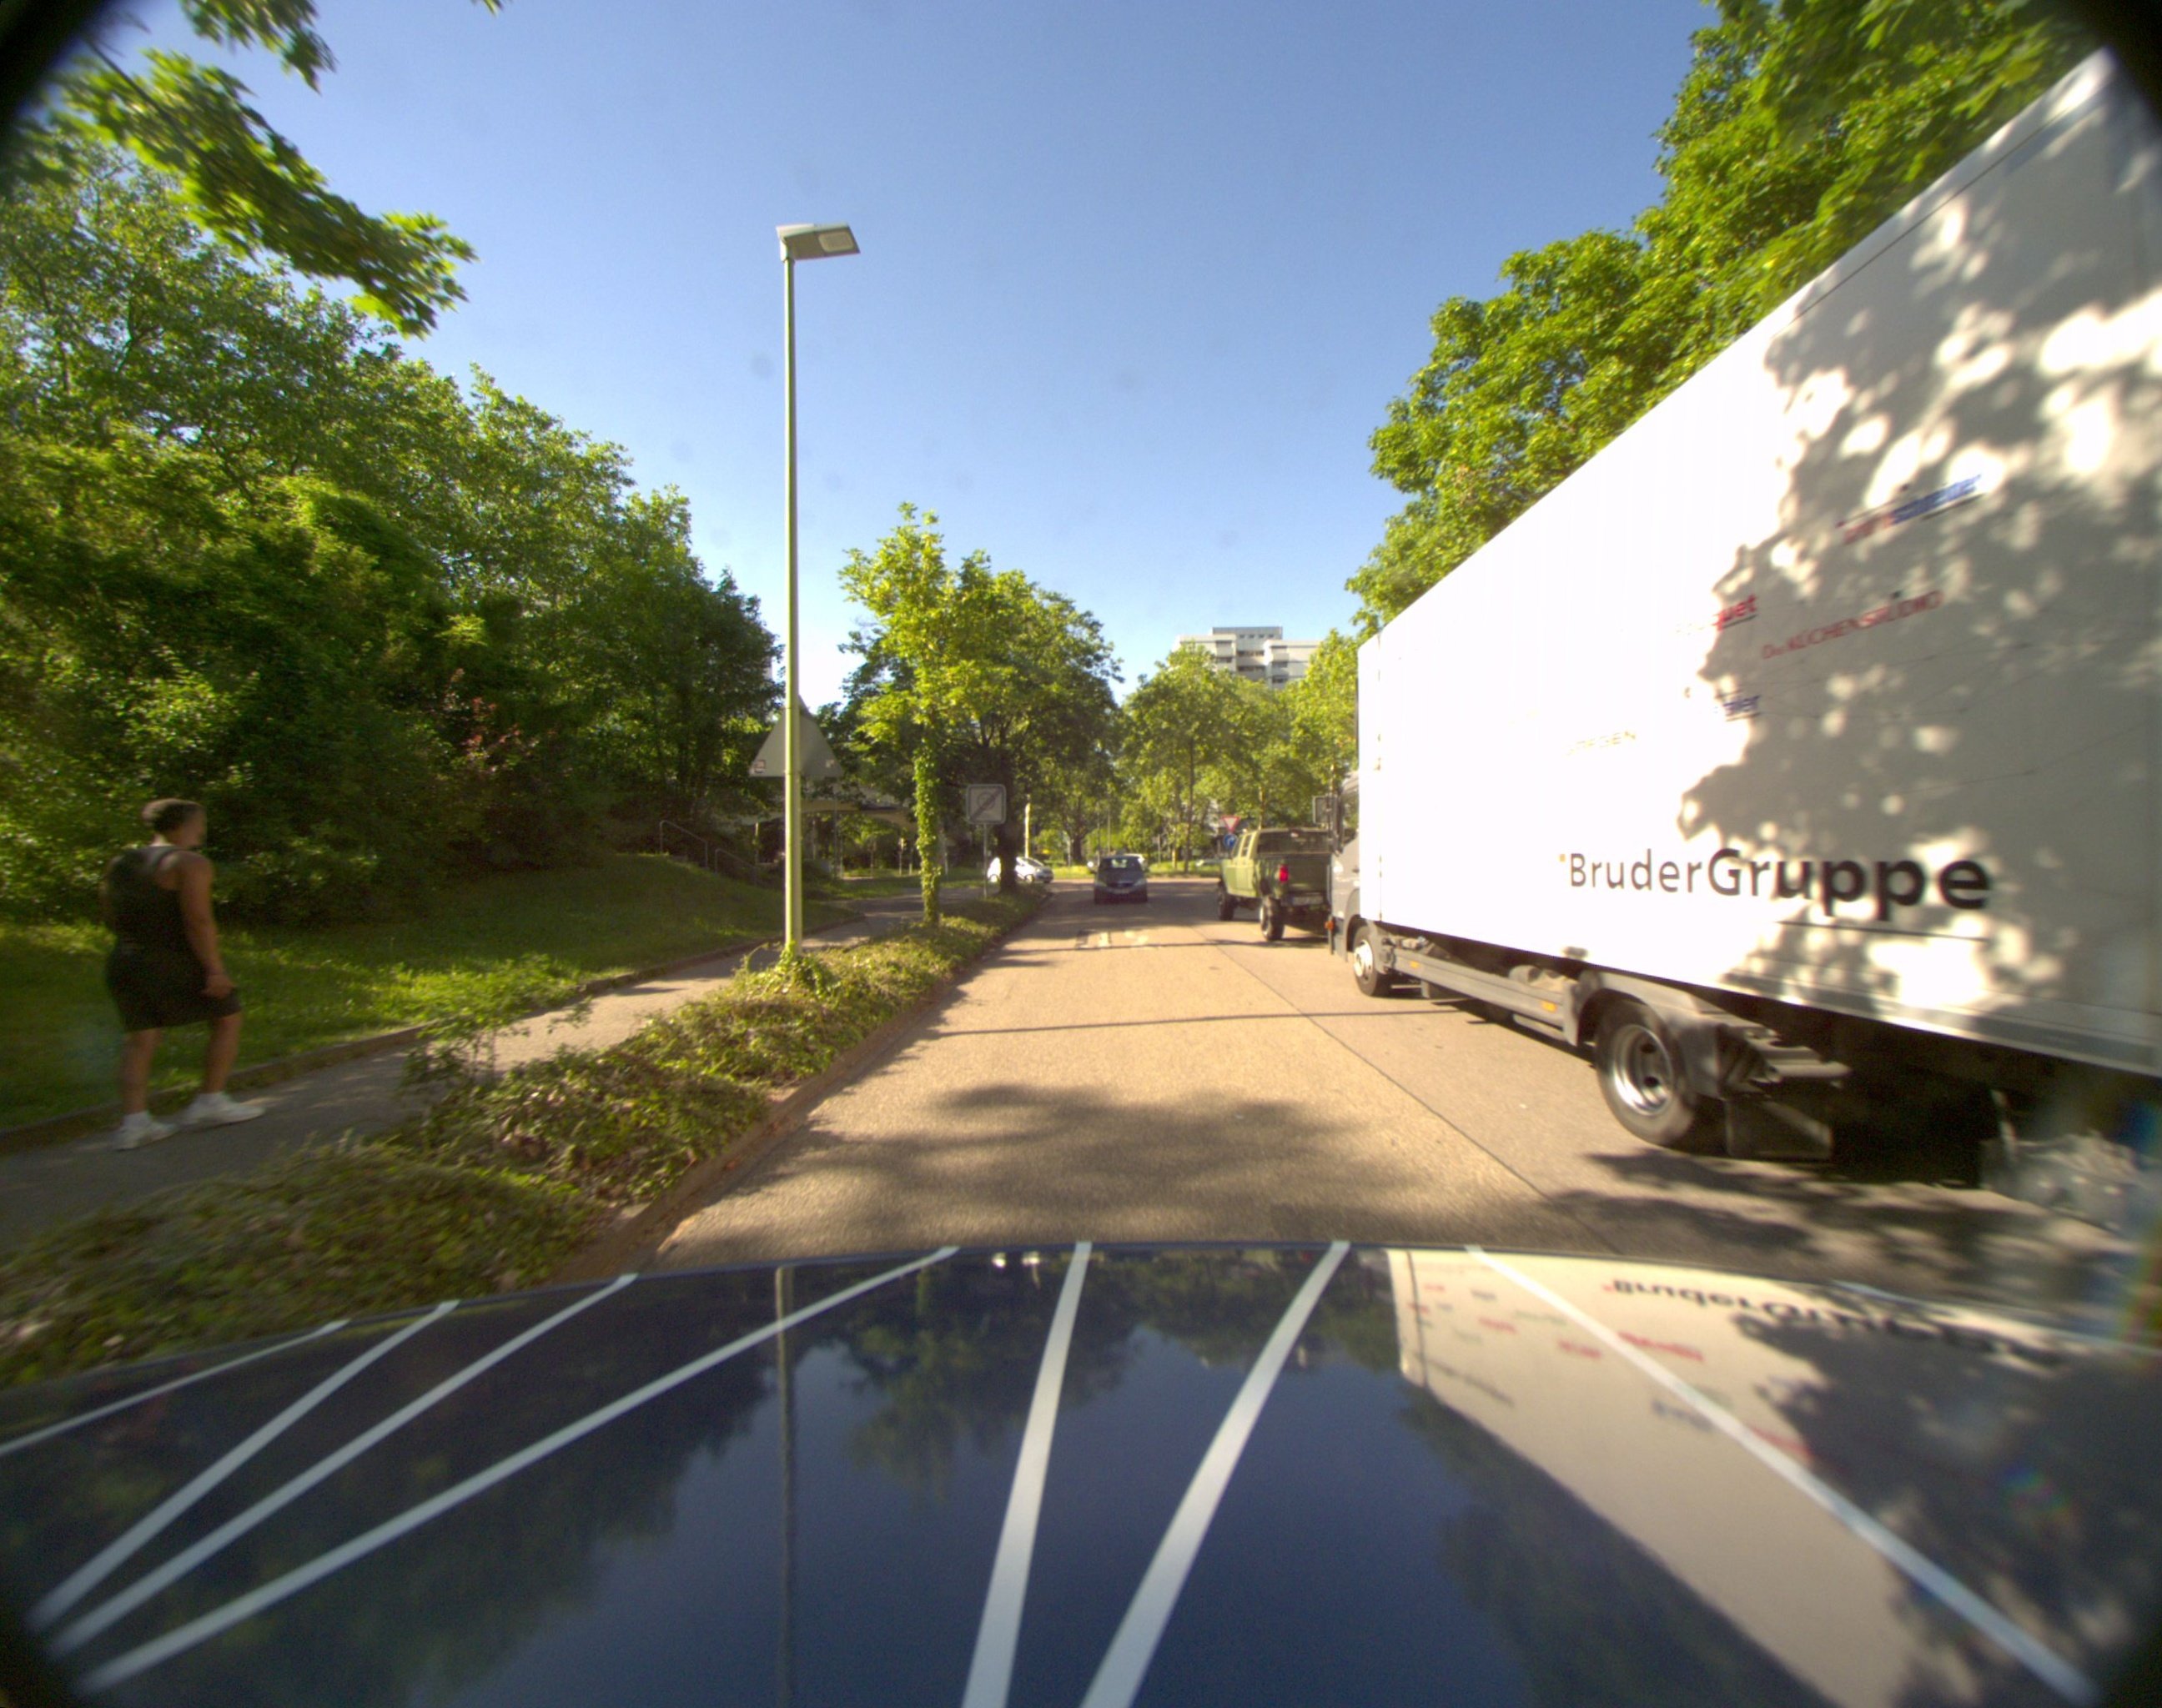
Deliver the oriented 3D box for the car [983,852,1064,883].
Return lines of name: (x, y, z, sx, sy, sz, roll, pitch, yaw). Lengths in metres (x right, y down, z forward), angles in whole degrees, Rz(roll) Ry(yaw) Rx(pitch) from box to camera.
car: (-3.365, 0.785, 44.417, 4.324, 1.637, 1.722, -2, 1, 25)

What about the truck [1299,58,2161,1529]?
truck: (4.082, -0.170, 5.470, 2.741, 3.620, 8.100, -1, 0, 1)

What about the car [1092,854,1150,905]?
car: (1.309, 0.814, 26.427, 1.734, 1.578, 3.999, -1, 0, -1)

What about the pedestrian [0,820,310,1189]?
pedestrian: (-4.926, 0.747, 4.096, 0.793, 1.821, 0.671, -1, 1, 1)

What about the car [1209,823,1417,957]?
car: (4.227, 0.553, 15.290, 2.125, 2.083, 6.583, -1, 0, 0)

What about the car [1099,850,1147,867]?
car: (3.698, 0.386, 66.137, 4.061, 1.213, 1.620, -3, 1, 6)

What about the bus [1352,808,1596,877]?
bus: (22.190, -0.631, 43.503, 12.137, 3.251, 2.698, -3, 1, 6)

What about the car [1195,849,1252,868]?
car: (11.871, 0.368, 63.445, 4.481, 1.384, 1.620, -3, 1, 4)
